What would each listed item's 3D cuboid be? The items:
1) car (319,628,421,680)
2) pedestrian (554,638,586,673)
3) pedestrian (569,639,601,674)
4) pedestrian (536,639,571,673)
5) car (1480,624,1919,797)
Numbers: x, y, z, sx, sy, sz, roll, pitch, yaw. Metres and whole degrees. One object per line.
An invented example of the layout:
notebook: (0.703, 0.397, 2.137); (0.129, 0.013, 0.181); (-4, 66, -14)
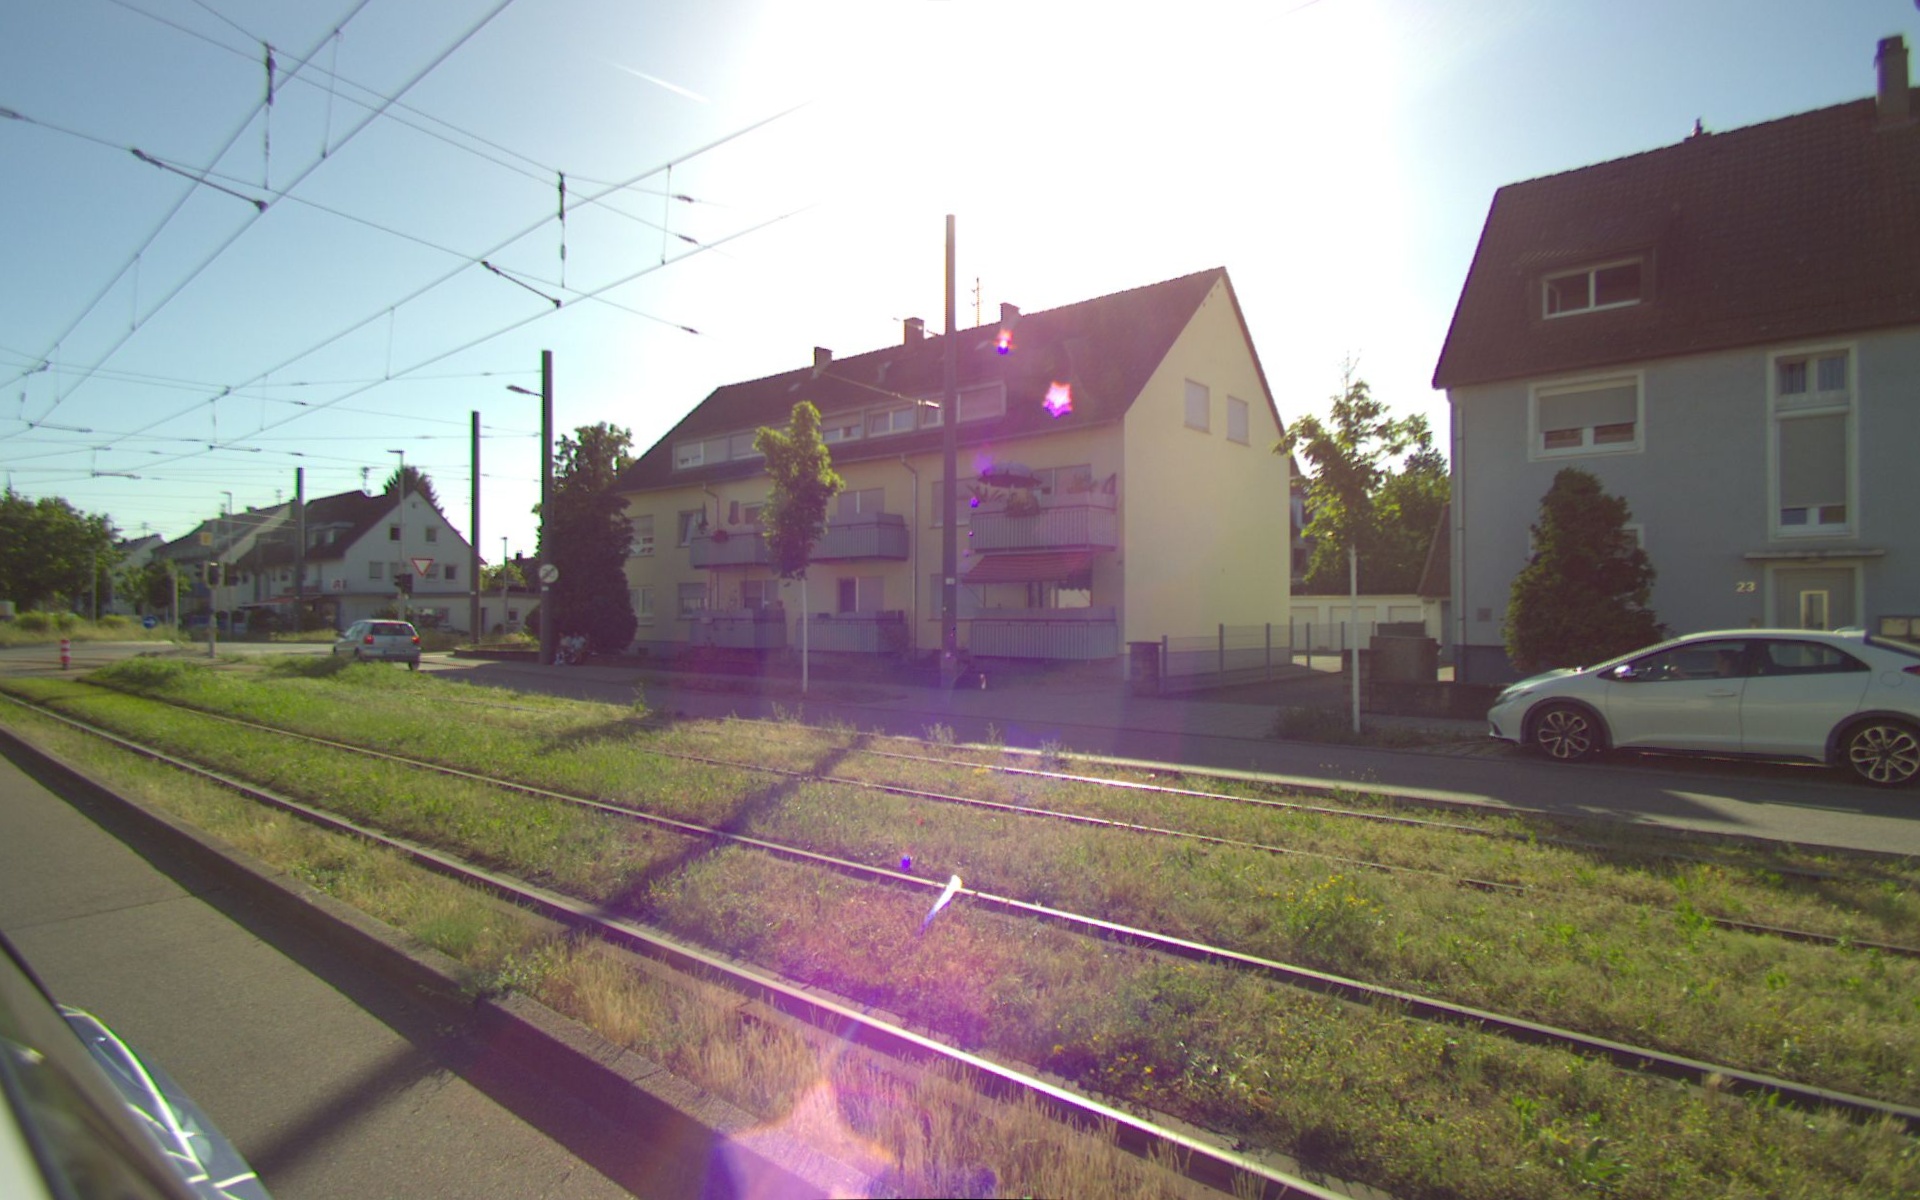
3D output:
car: (-17.288, 1.552, 29.621); (3.658, 1.422, 1.533); (-2, -3, 42)
pedestrian: (-12.260, 1.734, 31.831); (0.619, 1.073, 0.818); (1, -1, 8)
pedestrian: (-11.649, 1.748, 31.454); (0.590, 1.013, 0.720); (1, -1, 17)
pedestrian: (-12.979, 1.781, 32.314); (0.687, 1.054, 0.809); (0, -2, 38)
car: (7.937, 1.032, 10.554); (4.211, 1.529, 1.675); (-1, -3, 41)
